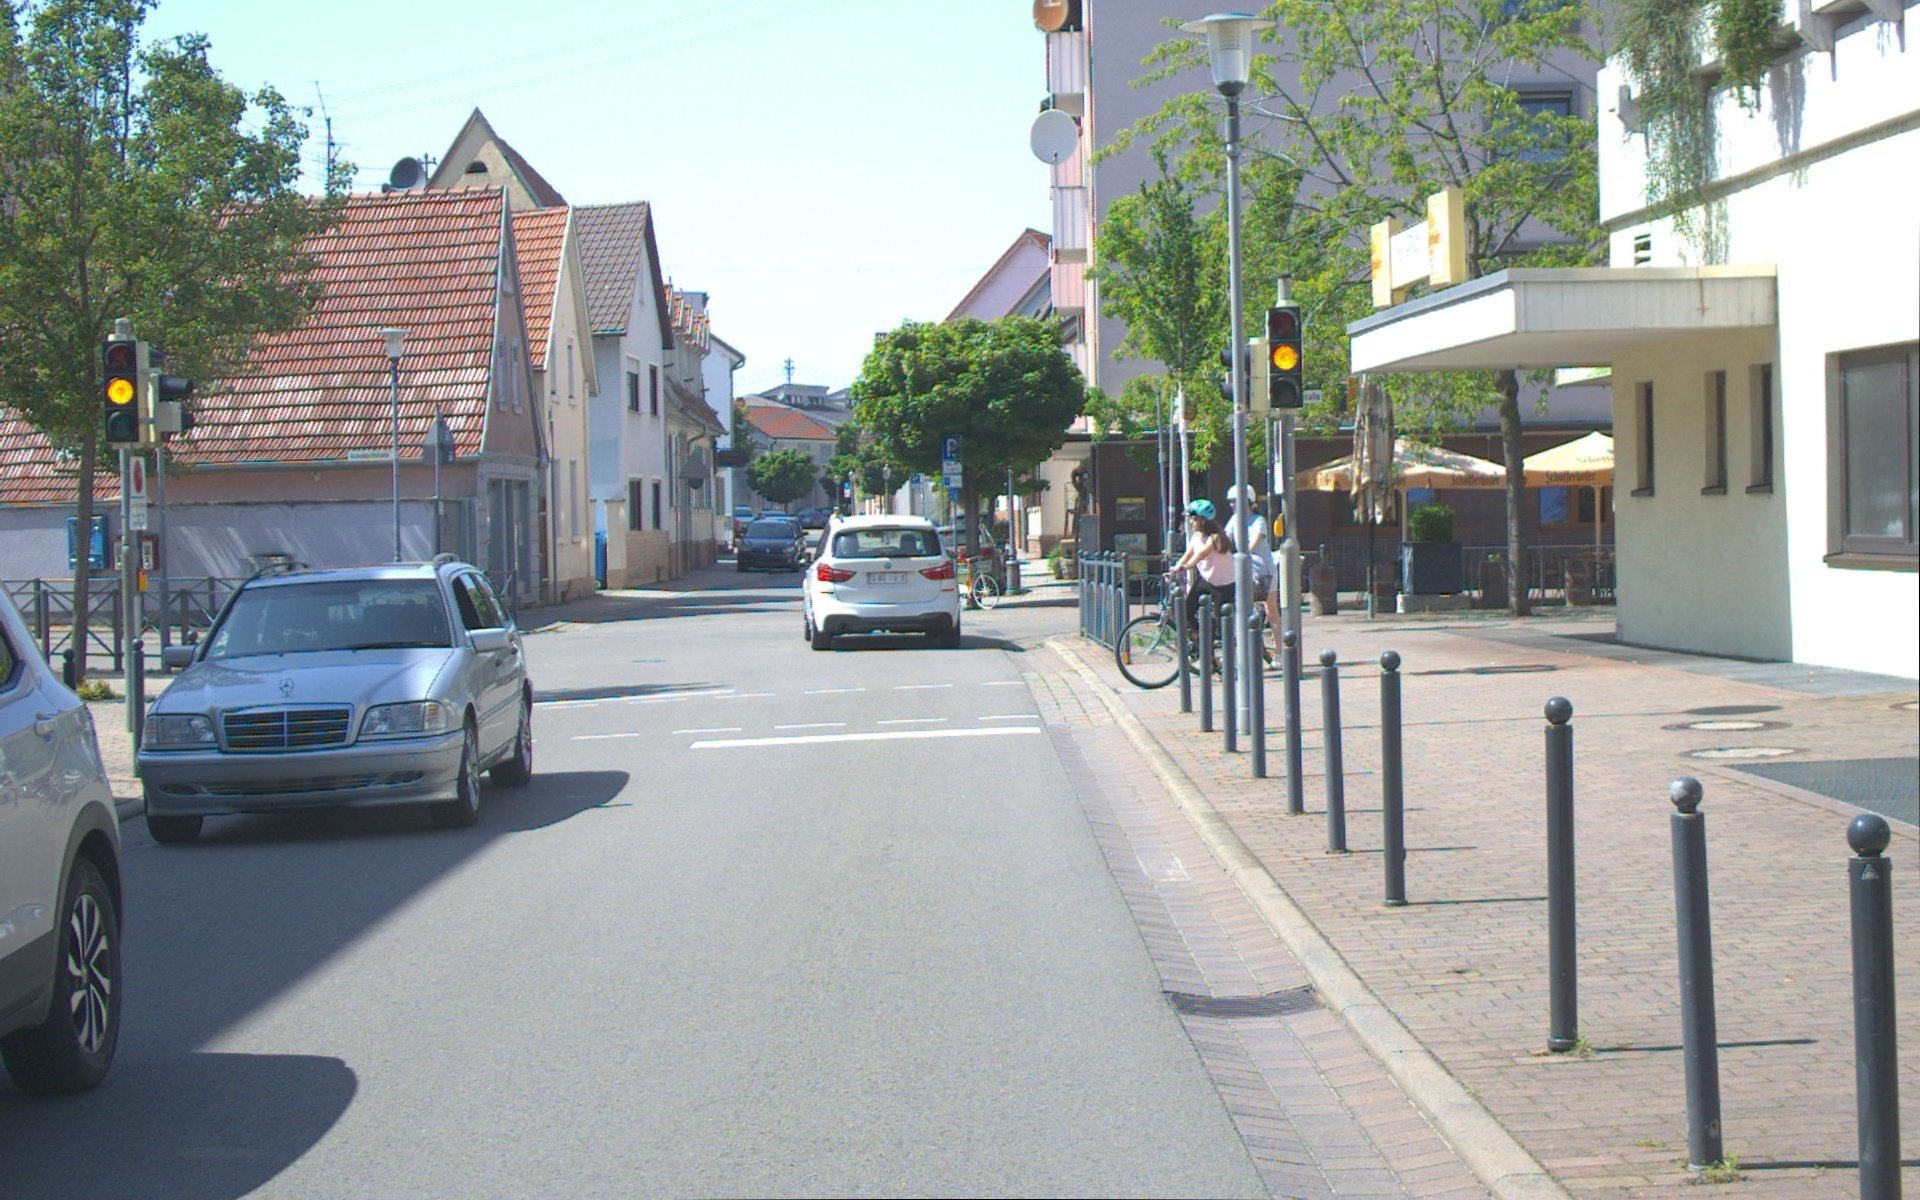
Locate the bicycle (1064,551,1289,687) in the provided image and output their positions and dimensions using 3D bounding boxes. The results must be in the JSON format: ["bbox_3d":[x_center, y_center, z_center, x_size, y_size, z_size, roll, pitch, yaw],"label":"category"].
[{"bbox_3d":[1.764,0.143,27.844,1.891,0.954,0.675,-5,3,-44],"label":"bicycle"}]

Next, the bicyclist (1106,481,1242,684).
[{"bbox_3d":[1.733,-0.141,27.804,0.759,1.576,0.670,-5,3,-43],"label":"bicyclist"}]

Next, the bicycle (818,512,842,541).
[{"bbox_3d":[-4.683,-2.667,124.045,0.664,1.002,1.897,-1,2,3],"label":"bicycle"}]

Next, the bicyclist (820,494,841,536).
[{"bbox_3d":[-4.666,-3.060,123.937,0.673,1.477,0.770,-1,1,2],"label":"bicyclist"}]

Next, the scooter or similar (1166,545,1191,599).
[{"bbox_3d":[3.612,-0.463,56.811,0.379,0.870,0.890,-1,1,4],"label":"scooter or similar"}]

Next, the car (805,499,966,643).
[{"bbox_3d":[-0.961,-0.387,42.289,1.833,1.646,4.001,-1,1,-3],"label":"car"}]

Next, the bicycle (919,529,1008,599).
[{"bbox_3d":[0.057,-0.626,59.750,0.525,1.189,1.674,-2,2,-43],"label":"bicycle"}]

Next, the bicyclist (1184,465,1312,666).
[{"bbox_3d":[2.463,-0.296,29.417,0.759,1.658,0.670,-5,2,-40],"label":"bicyclist"}]

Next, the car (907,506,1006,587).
[{"bbox_3d":[-0.048,-1.095,68.527,1.805,1.496,4.000,-1,2,2],"label":"car"}]

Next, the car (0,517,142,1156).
[{"bbox_3d":[-3.307,0.621,7.966,1.851,1.568,4.000,-1,2,0],"label":"car"}]

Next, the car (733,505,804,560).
[{"bbox_3d":[-5.512,-1.964,99.291,1.714,1.512,3.786,-1,2,2],"label":"car"}]

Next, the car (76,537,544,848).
[{"bbox_3d":[-3.575,0.428,19.719,1.880,1.459,4.436,-3,2,-1],"label":"car"}]

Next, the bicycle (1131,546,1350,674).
[{"bbox_3d":[2.405,0.075,29.369,1.891,0.954,0.676,-5,2,-40],"label":"bicycle"}]
